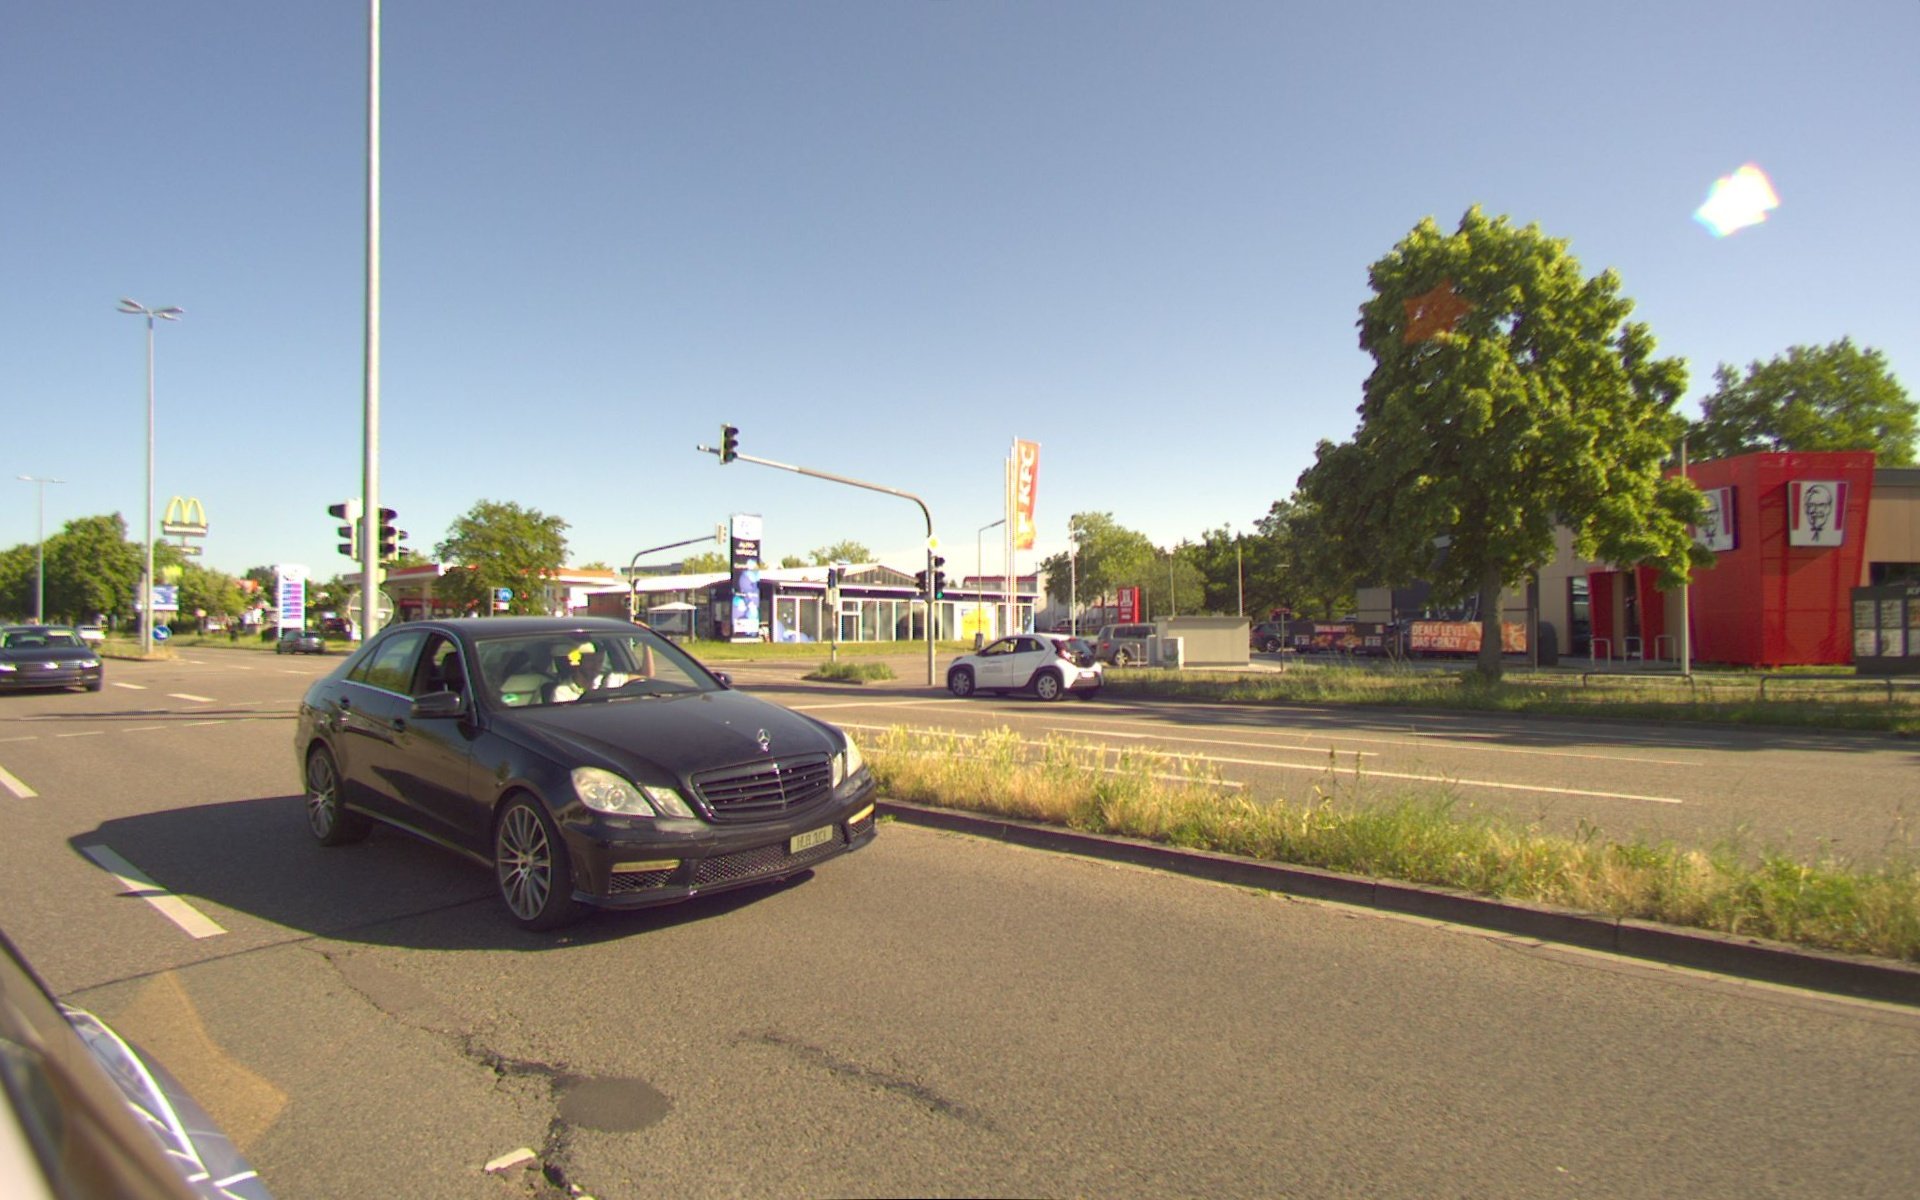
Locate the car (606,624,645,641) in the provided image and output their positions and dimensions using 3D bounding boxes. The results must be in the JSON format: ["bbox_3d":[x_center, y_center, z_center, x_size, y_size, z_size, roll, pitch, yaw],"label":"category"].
[{"bbox_3d":[-33.977,3.296,102.633,4.116,1.603,1.876,-2,-2,40],"label":"car"}]

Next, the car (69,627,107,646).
[{"bbox_3d":[-74.960,3.139,86.942,4.265,1.612,1.875,-1,-3,42],"label":"car"}]

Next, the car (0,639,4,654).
[{"bbox_3d":[-96.009,4.603,100.102,3.663,1.443,1.677,-1,-3,42],"label":"car"}]

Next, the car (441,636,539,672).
[{"bbox_3d":[-19.608,2.218,42.158,4.620,1.387,1.973,-1,-2,41],"label":"car"}]

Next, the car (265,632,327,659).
[{"bbox_3d":[-38.979,2.643,59.387,4.193,1.537,1.973,-2,-3,41],"label":"car"}]

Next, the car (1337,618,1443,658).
[{"bbox_3d":[19.360,1.692,45.649,3.940,1.762,1.885,0,-2,-4],"label":"car"}]

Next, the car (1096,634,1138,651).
[{"bbox_3d":[15.514,4.222,100.205,3.694,1.681,1.882,-1,-3,44],"label":"car"}]

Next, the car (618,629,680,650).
[{"bbox_3d":[-20.221,2.555,65.761,4.116,1.335,1.876,-1,-3,40],"label":"car"}]

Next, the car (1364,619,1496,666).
[{"bbox_3d":[18.209,1.620,39.354,4.181,1.674,1.896,-1,0,-1],"label":"car"}]

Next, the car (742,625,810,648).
[{"bbox_3d":[-12.088,2.397,66.619,1.900,1.443,4.063,-1,-3,41],"label":"car"}]

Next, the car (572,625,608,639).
[{"bbox_3d":[-39.059,3.393,106.754,4.116,1.451,1.750,-2,-2,40],"label":"car"}]

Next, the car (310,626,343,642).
[{"bbox_3d":[-66.764,3.599,106.600,4.116,1.625,1.740,-1,-3,40],"label":"car"}]

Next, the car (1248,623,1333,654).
[{"bbox_3d":[17.979,2.075,55.215,3.940,1.530,1.885,-1,0,-4],"label":"car"}]

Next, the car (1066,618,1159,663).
[{"bbox_3d":[6.690,1.775,44.616,3.778,1.864,1.847,-1,0,1],"label":"car"}]

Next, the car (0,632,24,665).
[{"bbox_3d":[-44.470,2.220,46.464,4.115,1.466,1.767,-2,-2,42],"label":"car"}]

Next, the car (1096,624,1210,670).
[{"bbox_3d":[7.564,1.850,39.979,4.073,1.674,1.896,-1,0,-1],"label":"car"}]

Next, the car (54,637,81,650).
[{"bbox_3d":[-99.866,4.868,113.243,4.457,1.443,1.677,-1,-3,42],"label":"car"}]

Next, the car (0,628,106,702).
[{"bbox_3d":[-20.292,1.361,22.195,4.264,1.464,1.824,-2,-1,42],"label":"car"}]

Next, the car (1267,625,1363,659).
[{"bbox_3d":[17.268,2.018,49.368,3.940,1.530,1.885,-1,0,-4],"label":"car"}]

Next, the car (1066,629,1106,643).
[{"bbox_3d":[13.925,3.935,111.734,4.087,1.443,1.889,0,-3,19],"label":"car"}]

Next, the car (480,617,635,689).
[{"bbox_3d":[-10.051,1.283,25.149,4.169,1.654,1.855,-1,-4,41],"label":"car"}]

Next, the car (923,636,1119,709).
[{"bbox_3d":[1.351,1.582,23.291,4.194,1.485,1.973,-1,-2,41],"label":"car"}]

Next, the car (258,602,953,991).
[{"bbox_3d":[-2.508,0.813,6.271,4.916,1.494,1.938,-2,-2,42],"label":"car"}]

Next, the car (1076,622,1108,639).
[{"bbox_3d":[17.577,4.069,135.045,4.063,2.109,1.900,1,-3,1],"label":"car"}]

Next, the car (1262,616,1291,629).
[{"bbox_3d":[43.864,3.125,140.220,2.069,1.813,4.793,1,-2,-6],"label":"car"}]
